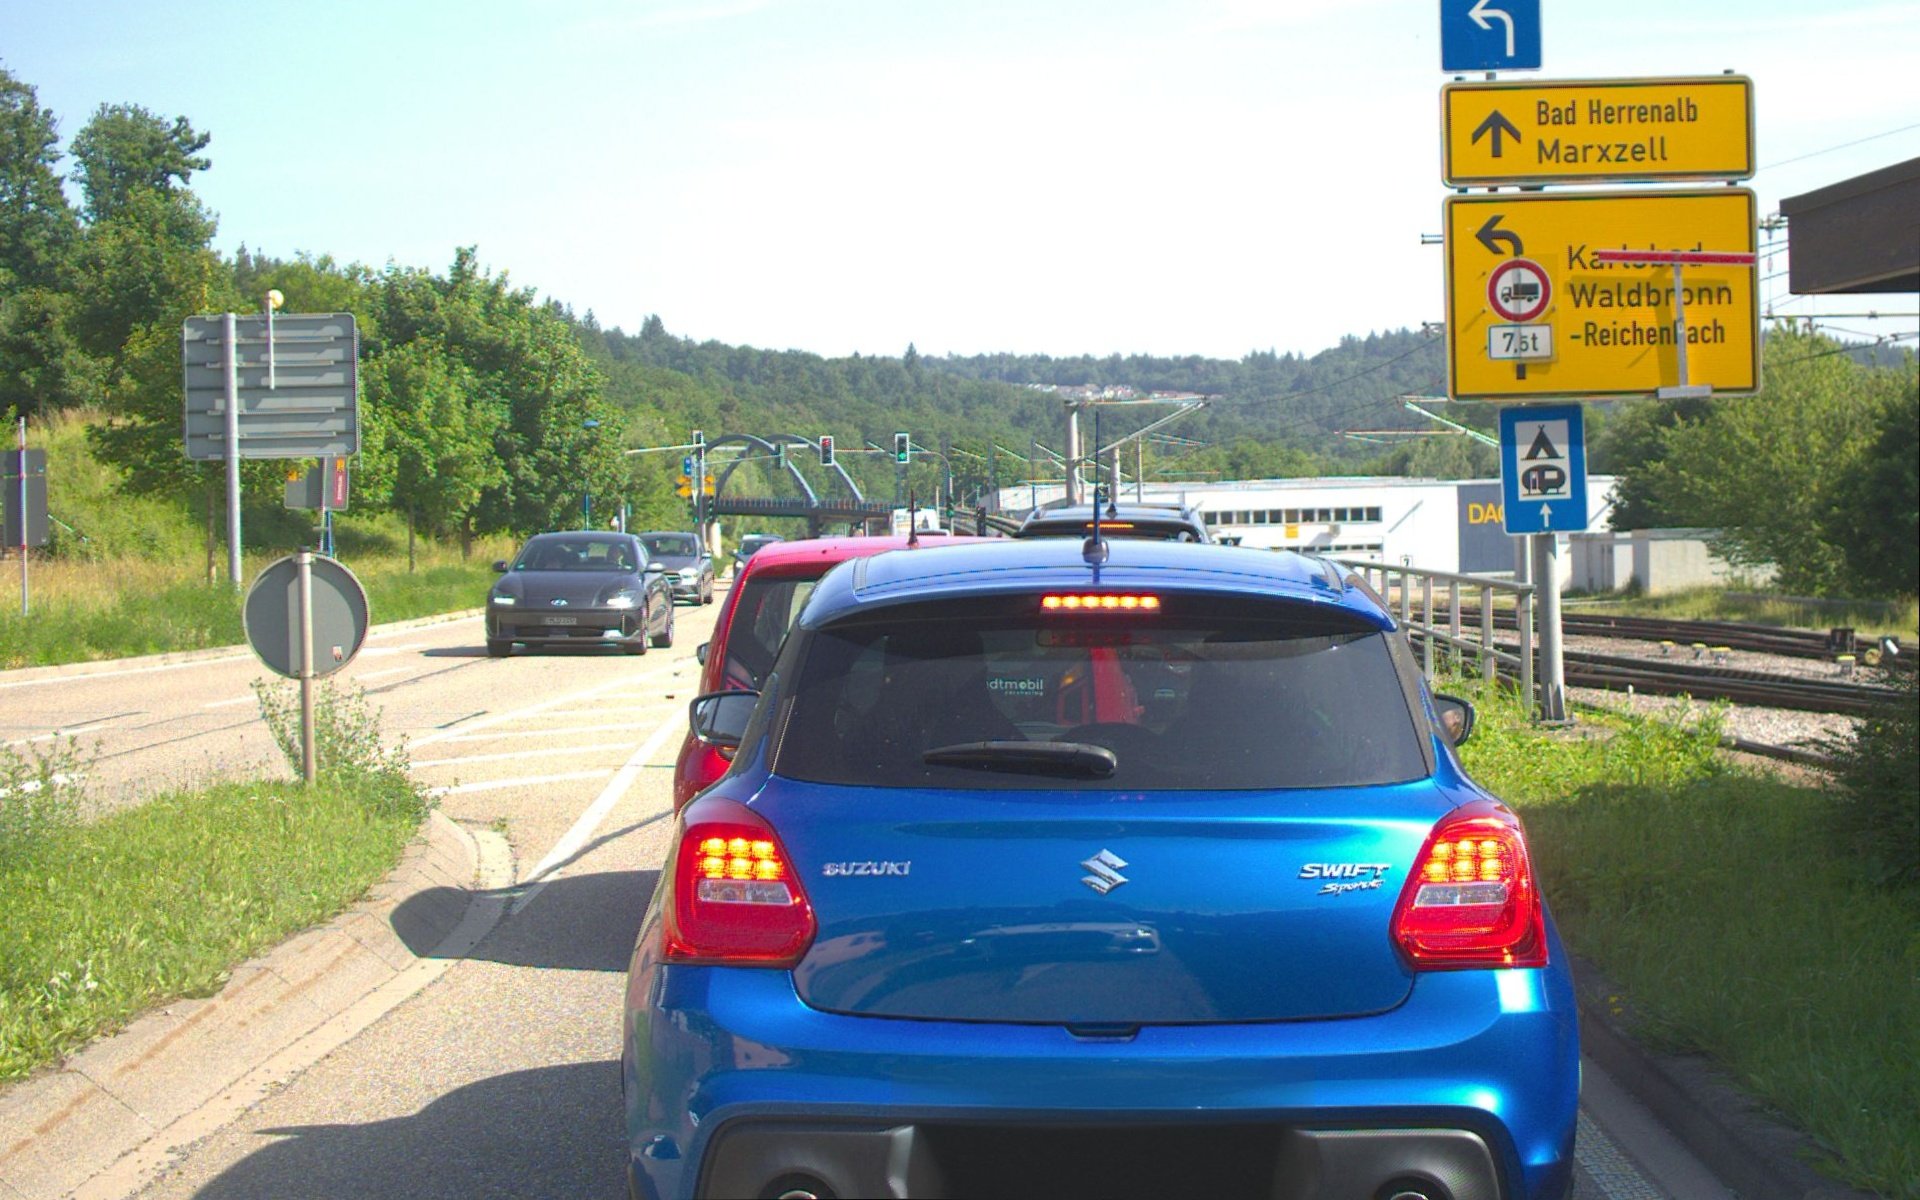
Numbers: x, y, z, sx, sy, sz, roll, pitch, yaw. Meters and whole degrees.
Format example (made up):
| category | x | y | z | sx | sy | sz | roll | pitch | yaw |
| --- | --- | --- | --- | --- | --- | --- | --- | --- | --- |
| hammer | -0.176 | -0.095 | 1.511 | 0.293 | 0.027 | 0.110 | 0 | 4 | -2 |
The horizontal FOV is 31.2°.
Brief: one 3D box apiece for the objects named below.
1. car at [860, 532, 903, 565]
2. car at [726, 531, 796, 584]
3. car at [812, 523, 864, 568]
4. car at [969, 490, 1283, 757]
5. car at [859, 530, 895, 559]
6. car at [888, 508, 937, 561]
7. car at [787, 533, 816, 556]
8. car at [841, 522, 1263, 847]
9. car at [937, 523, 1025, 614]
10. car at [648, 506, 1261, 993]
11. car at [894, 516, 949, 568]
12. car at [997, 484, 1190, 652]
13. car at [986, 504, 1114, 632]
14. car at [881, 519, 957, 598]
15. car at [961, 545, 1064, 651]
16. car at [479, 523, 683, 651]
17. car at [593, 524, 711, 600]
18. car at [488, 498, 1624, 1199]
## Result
| category | x | y | z | sx | sy | sz | roll | pitch | yaw |
| --- | --- | --- | --- | --- | --- | --- | --- | --- | --- |
| car | -3.779 | -2.495 | 166.489 | 1.993 | 1.549 | 4.215 | 1 | 1 | 0 |
| car | -5.553 | -1.207 | 96.297 | 1.672 | 1.436 | 3.840 | 1 | 1 | 1 |
| car | -4.980 | -2.244 | 140.860 | 1.993 | 1.777 | 4.000 | 1 | 1 | 0 |
| car | 1.129 | 0.102 | 24.702 | 1.993 | 1.681 | 4.497 | 2 | 1 | 1 |
| car | -4.715 | -3.161 | 195.925 | 1.993 | 1.585 | 4.000 | 1 | 1 | -1 |
| car | -1.971 | -2.730 | 143.978 | 1.993 | 2.137 | 4.720 | 1 | 1 | 0 |
| car | -11.699 | -4.084 | 253.525 | 1.993 | 1.659 | 4.000 | 1 | 1 | -1 |
| car | 0.485 | 0.351 | 18.623 | 1.993 | 1.526 | 4.602 | 0 | 1 | 1 |
| car | 0.486 | -0.781 | 82.351 | 1.993 | 2.006 | 4.001 | 2 | 2 | 0 |
| car | 0.022 | 0.461 | 13.357 | 1.993 | 1.566 | 4.000 | 1 | 1 | 1 |
| car | -1.442 | -2.213 | 129.361 | 1.993 | 1.810 | 4.001 | 2 | 2 | 0 |
| car | 1.465 | -0.389 | 38.654 | 1.993 | 1.730 | 4.000 | 2 | 1 | 1 |
| car | 1.512 | -0.586 | 59.025 | 1.993 | 2.006 | 4.001 | 2 | 2 | 0 |
| car | -1.125 | -1.156 | 94.881 | 1.993 | 2.006 | 4.001 | 2 | 2 | 0 |
| car | 1.073 | -0.081 | 71.995 | 1.993 | 2.006 | 4.001 | 2 | 2 | 0 |
| car | -4.575 | -0.199 | 42.105 | 1.791 | 1.465 | 4.716 | 0 | 1 | 2 |
| car | -6.543 | -0.835 | 73.524 | 1.993 | 1.558 | 4.509 | 0 | 1 | 2 |
| car | 0.120 | 0.567 | 7.687 | 1.868 | 1.543 | 4.000 | 1 | 1 | -1 |
